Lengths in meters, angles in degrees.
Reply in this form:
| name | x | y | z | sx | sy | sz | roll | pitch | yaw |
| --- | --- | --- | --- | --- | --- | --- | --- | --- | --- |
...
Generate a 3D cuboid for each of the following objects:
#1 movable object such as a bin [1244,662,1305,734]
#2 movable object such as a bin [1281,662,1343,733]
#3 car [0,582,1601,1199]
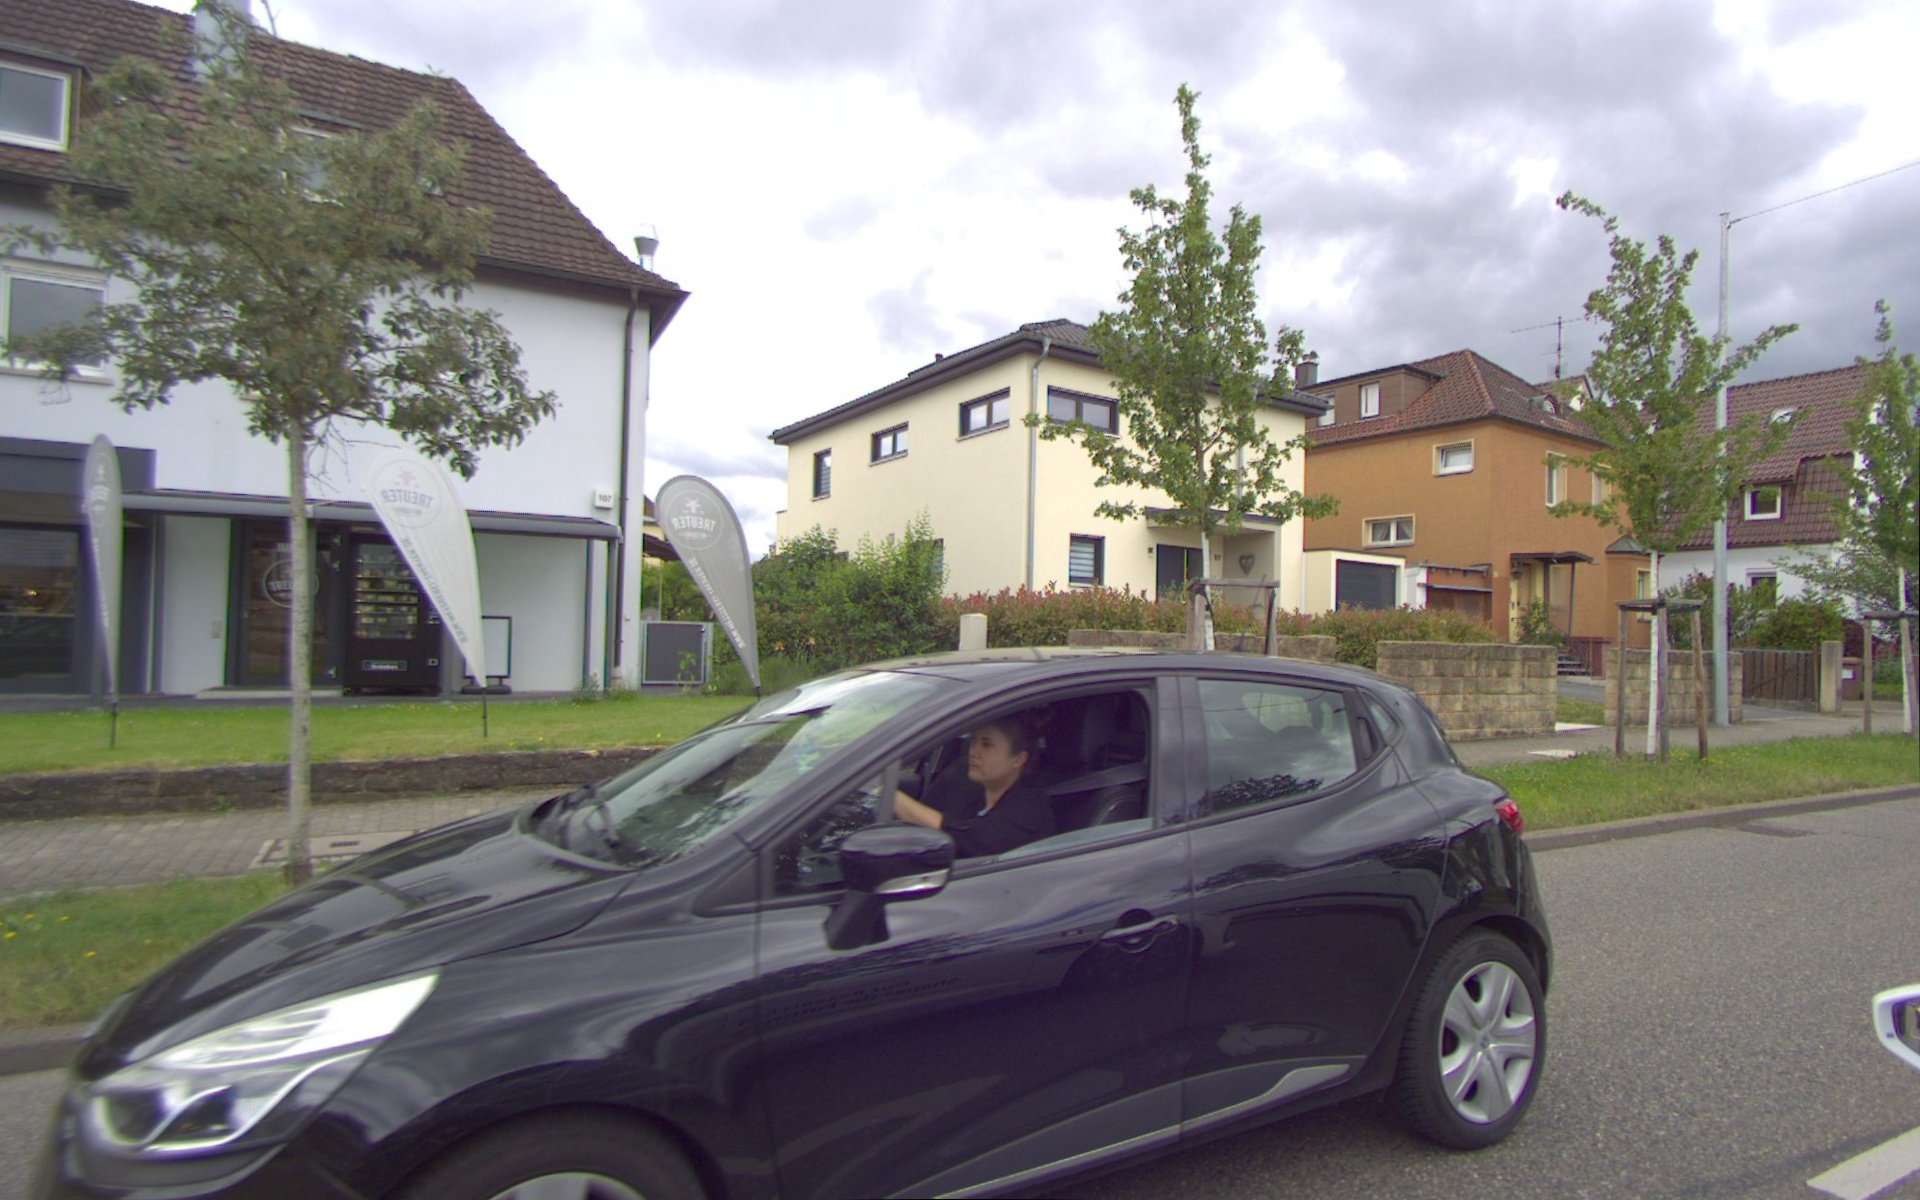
| name | x | y | z | sx | sy | sz | roll | pitch | yaw |
| --- | --- | --- | --- | --- | --- | --- | --- | --- | --- |
| movable object such as a bin | 4.353 | 1.347 | 13.914 | 0.518 | 0.934 | 0.611 | 2 | 0 | -29 |
| movable object such as a bin | 4.965 | 1.367 | 14.175 | 0.518 | 0.934 | 0.611 | 2 | 0 | -29 |
| car | -0.112 | 0.809 | 2.921 | 3.951 | 1.491 | 1.610 | 2 | -4 | -29 |
